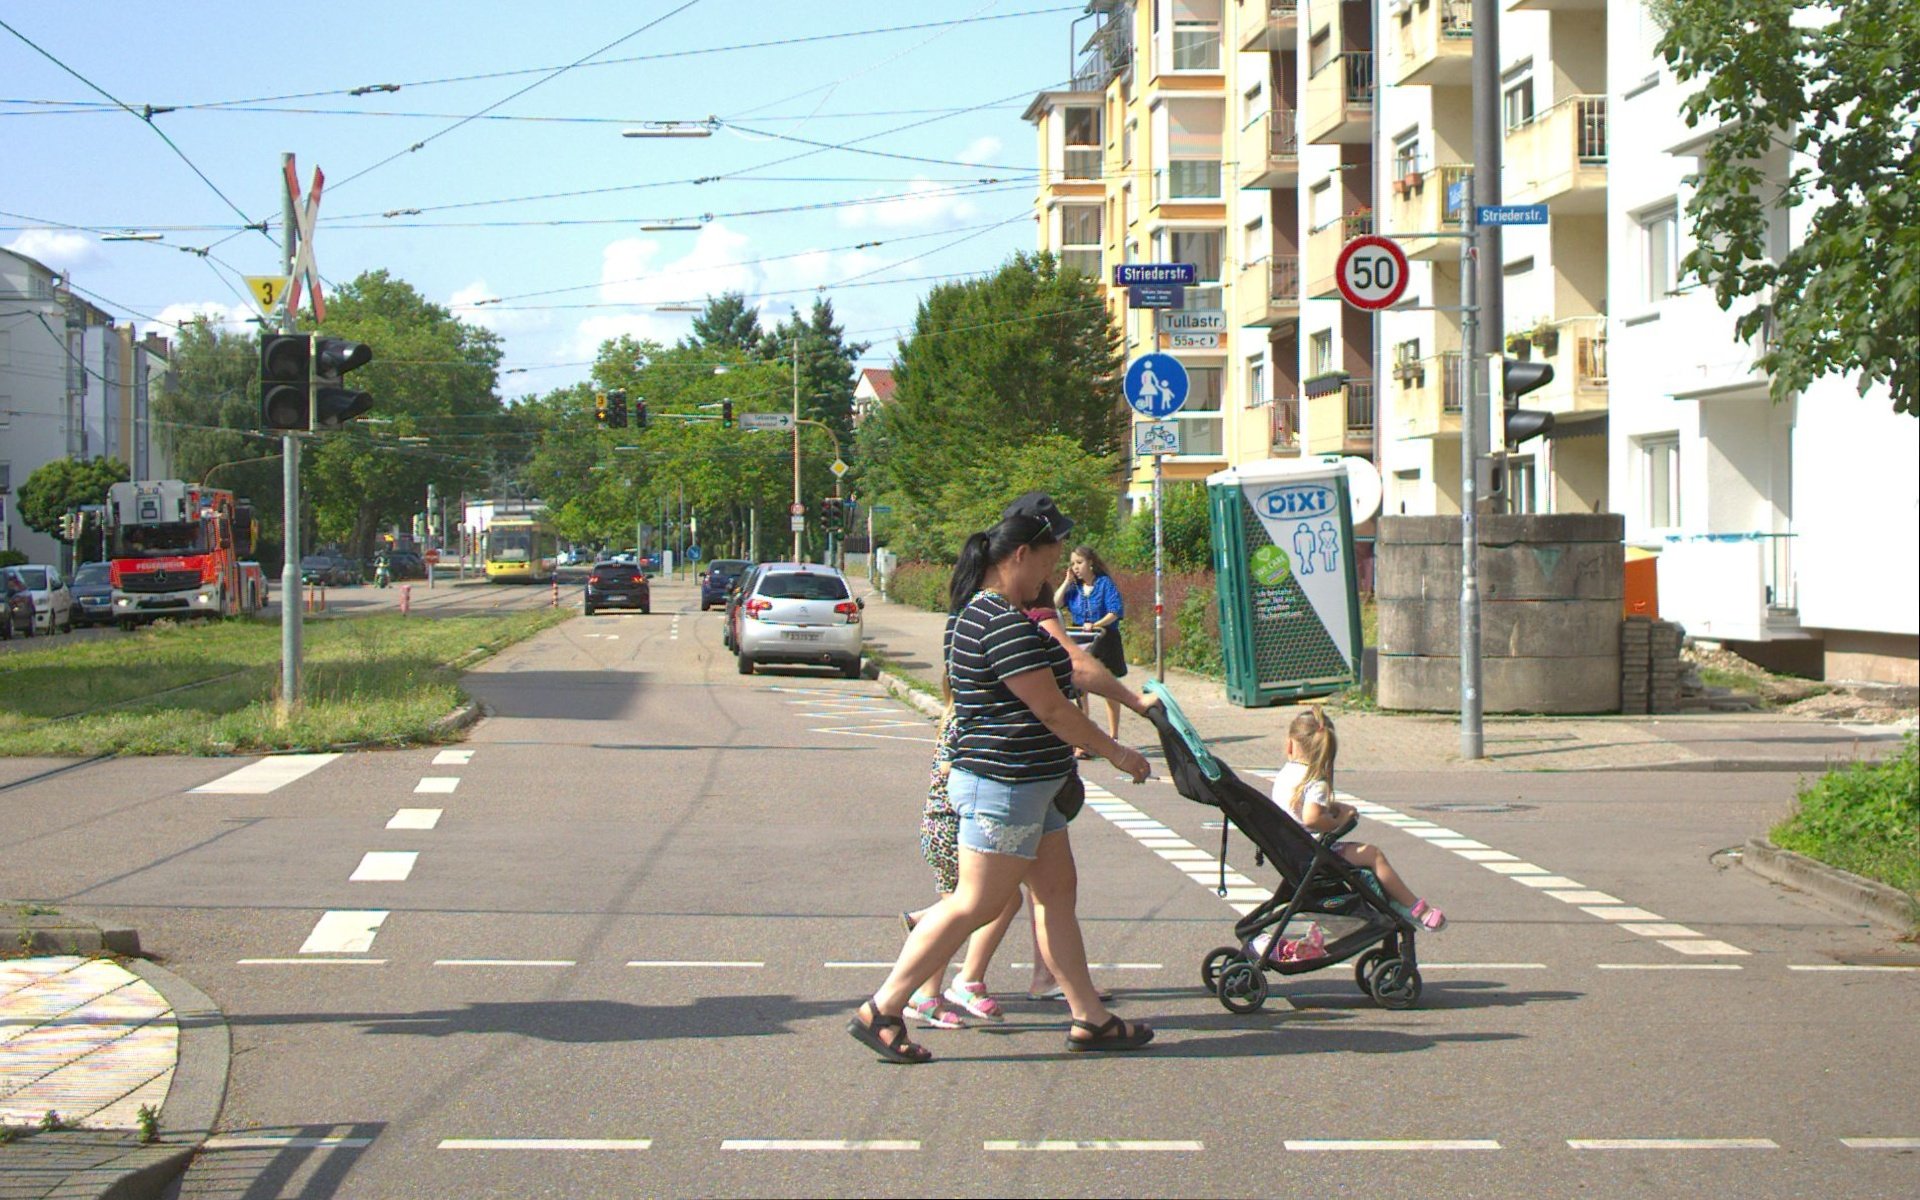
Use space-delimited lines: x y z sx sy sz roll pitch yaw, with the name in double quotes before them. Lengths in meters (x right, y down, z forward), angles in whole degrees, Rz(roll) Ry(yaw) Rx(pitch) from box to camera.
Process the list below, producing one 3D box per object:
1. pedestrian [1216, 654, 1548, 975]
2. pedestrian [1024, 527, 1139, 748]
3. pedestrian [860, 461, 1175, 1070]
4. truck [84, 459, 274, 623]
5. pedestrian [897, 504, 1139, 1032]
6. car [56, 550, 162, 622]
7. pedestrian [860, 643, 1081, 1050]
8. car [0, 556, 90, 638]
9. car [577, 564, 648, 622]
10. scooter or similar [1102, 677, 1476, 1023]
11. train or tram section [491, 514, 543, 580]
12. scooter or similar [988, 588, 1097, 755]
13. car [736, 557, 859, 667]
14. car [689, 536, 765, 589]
"pedestrian" 2.970 1.466 25.011 1.993 2.007 4.000 1 0 2
"pedestrian" 1.008 0.297 28.328 0.701 1.783 1.029 0 1 17
"pedestrian" 0.151 0.450 9.830 0.845 1.662 0.799 -1 0 -1
"truck" -17.810 -1.314 79.031 2.666 3.459 10.169 1 0 -4
"pedestrian" 0.178 0.526 11.146 0.705 1.642 0.637 2 0 -1
"car" -21.059 -0.363 85.216 1.909 1.705 4.001 1 0 -5
"pedestrian" 0.022 0.730 10.515 0.636 1.176 0.799 -1 0 -1
"car" -20.462 -0.090 75.337 1.993 1.705 4.001 1 0 -4
"car" -9.391 -0.198 93.116 1.743 1.502 4.001 1 0 -4
"scooter or similar" 1.051 0.797 11.158 1.100 1.052 0.650 1 0 -3
"train or tram section" -21.212 -2.530 164.776 2.258 3.058 8.135 -1 1 -6
"scooter or similar" 0.667 0.564 27.573 0.662 1.299 0.868 0 1 16
"car" -2.287 0.147 48.274 1.622 1.460 3.511 1 0 -3
"car" -6.781 -1.087 100.568 1.744 1.502 4.000 1 0 3
